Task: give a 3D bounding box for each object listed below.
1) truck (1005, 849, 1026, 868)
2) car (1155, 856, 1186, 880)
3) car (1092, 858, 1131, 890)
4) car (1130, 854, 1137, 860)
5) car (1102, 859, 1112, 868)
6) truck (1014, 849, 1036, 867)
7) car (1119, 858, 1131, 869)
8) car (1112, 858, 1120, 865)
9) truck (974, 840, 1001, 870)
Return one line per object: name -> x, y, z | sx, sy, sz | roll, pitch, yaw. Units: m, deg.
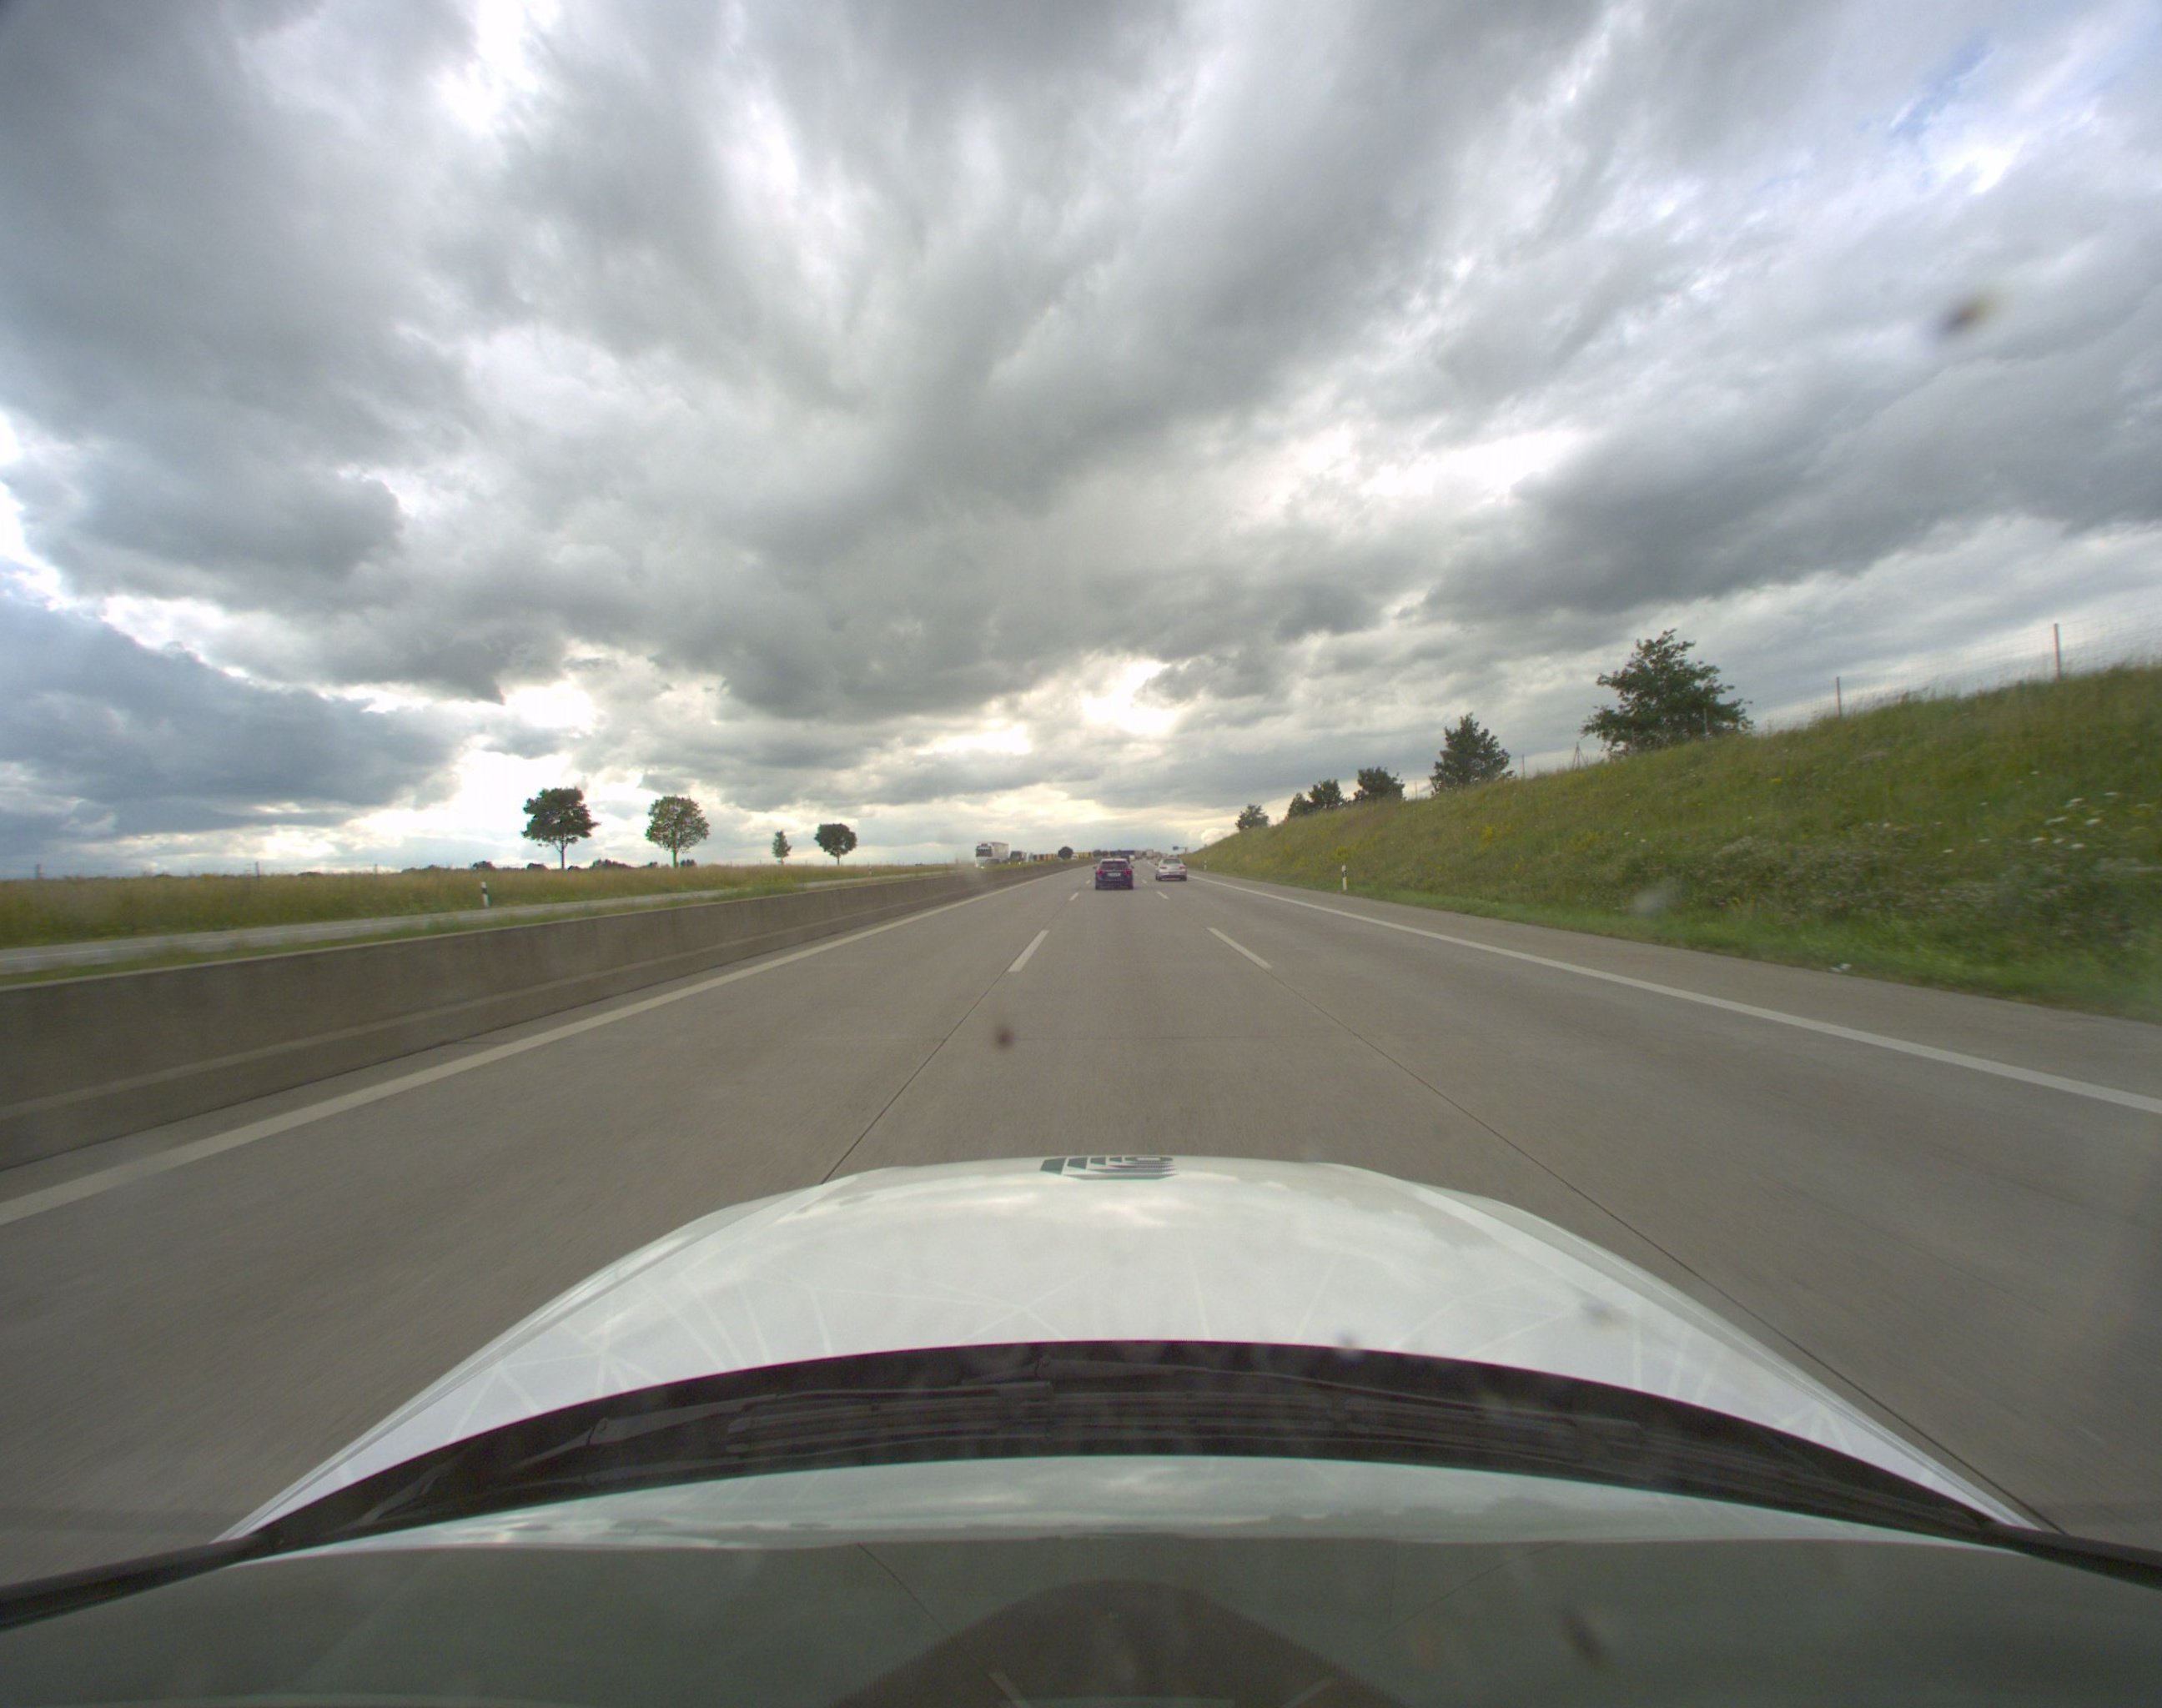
truck -> -9.777, 0.716, 122.622 | 2.242, 2.725, 7.130 | -1, 0, 2
car -> 5.628, 0.886, 51.373 | 1.780, 1.403, 4.226 | -1, -1, 4
car -> 1.478, 0.911, 38.762 | 1.767, 1.413, 4.002 | -1, -1, 3
car -> 16.199, 0.936, 252.128 | 1.984, 2.014, 4.005 | -1, -1, 5
car -> 5.809, 2.126, 181.361 | 2.039, 2.014, 4.001 | -1, -1, 1
truck -> -8.989, 0.676, 131.106 | 2.605, 2.725, 6.924 | -1, 0, 3
car -> 8.329, 1.752, 154.463 | 1.987, 2.014, 3.999 | -1, -1, 0
car -> 10.243, 2.130, 238.726 | 1.987, 2.014, 3.999 | -1, -1, 0
truck -> -13.608, 0.155, 119.065 | 2.829, 4.256, 6.095 | -1, -1, 3
